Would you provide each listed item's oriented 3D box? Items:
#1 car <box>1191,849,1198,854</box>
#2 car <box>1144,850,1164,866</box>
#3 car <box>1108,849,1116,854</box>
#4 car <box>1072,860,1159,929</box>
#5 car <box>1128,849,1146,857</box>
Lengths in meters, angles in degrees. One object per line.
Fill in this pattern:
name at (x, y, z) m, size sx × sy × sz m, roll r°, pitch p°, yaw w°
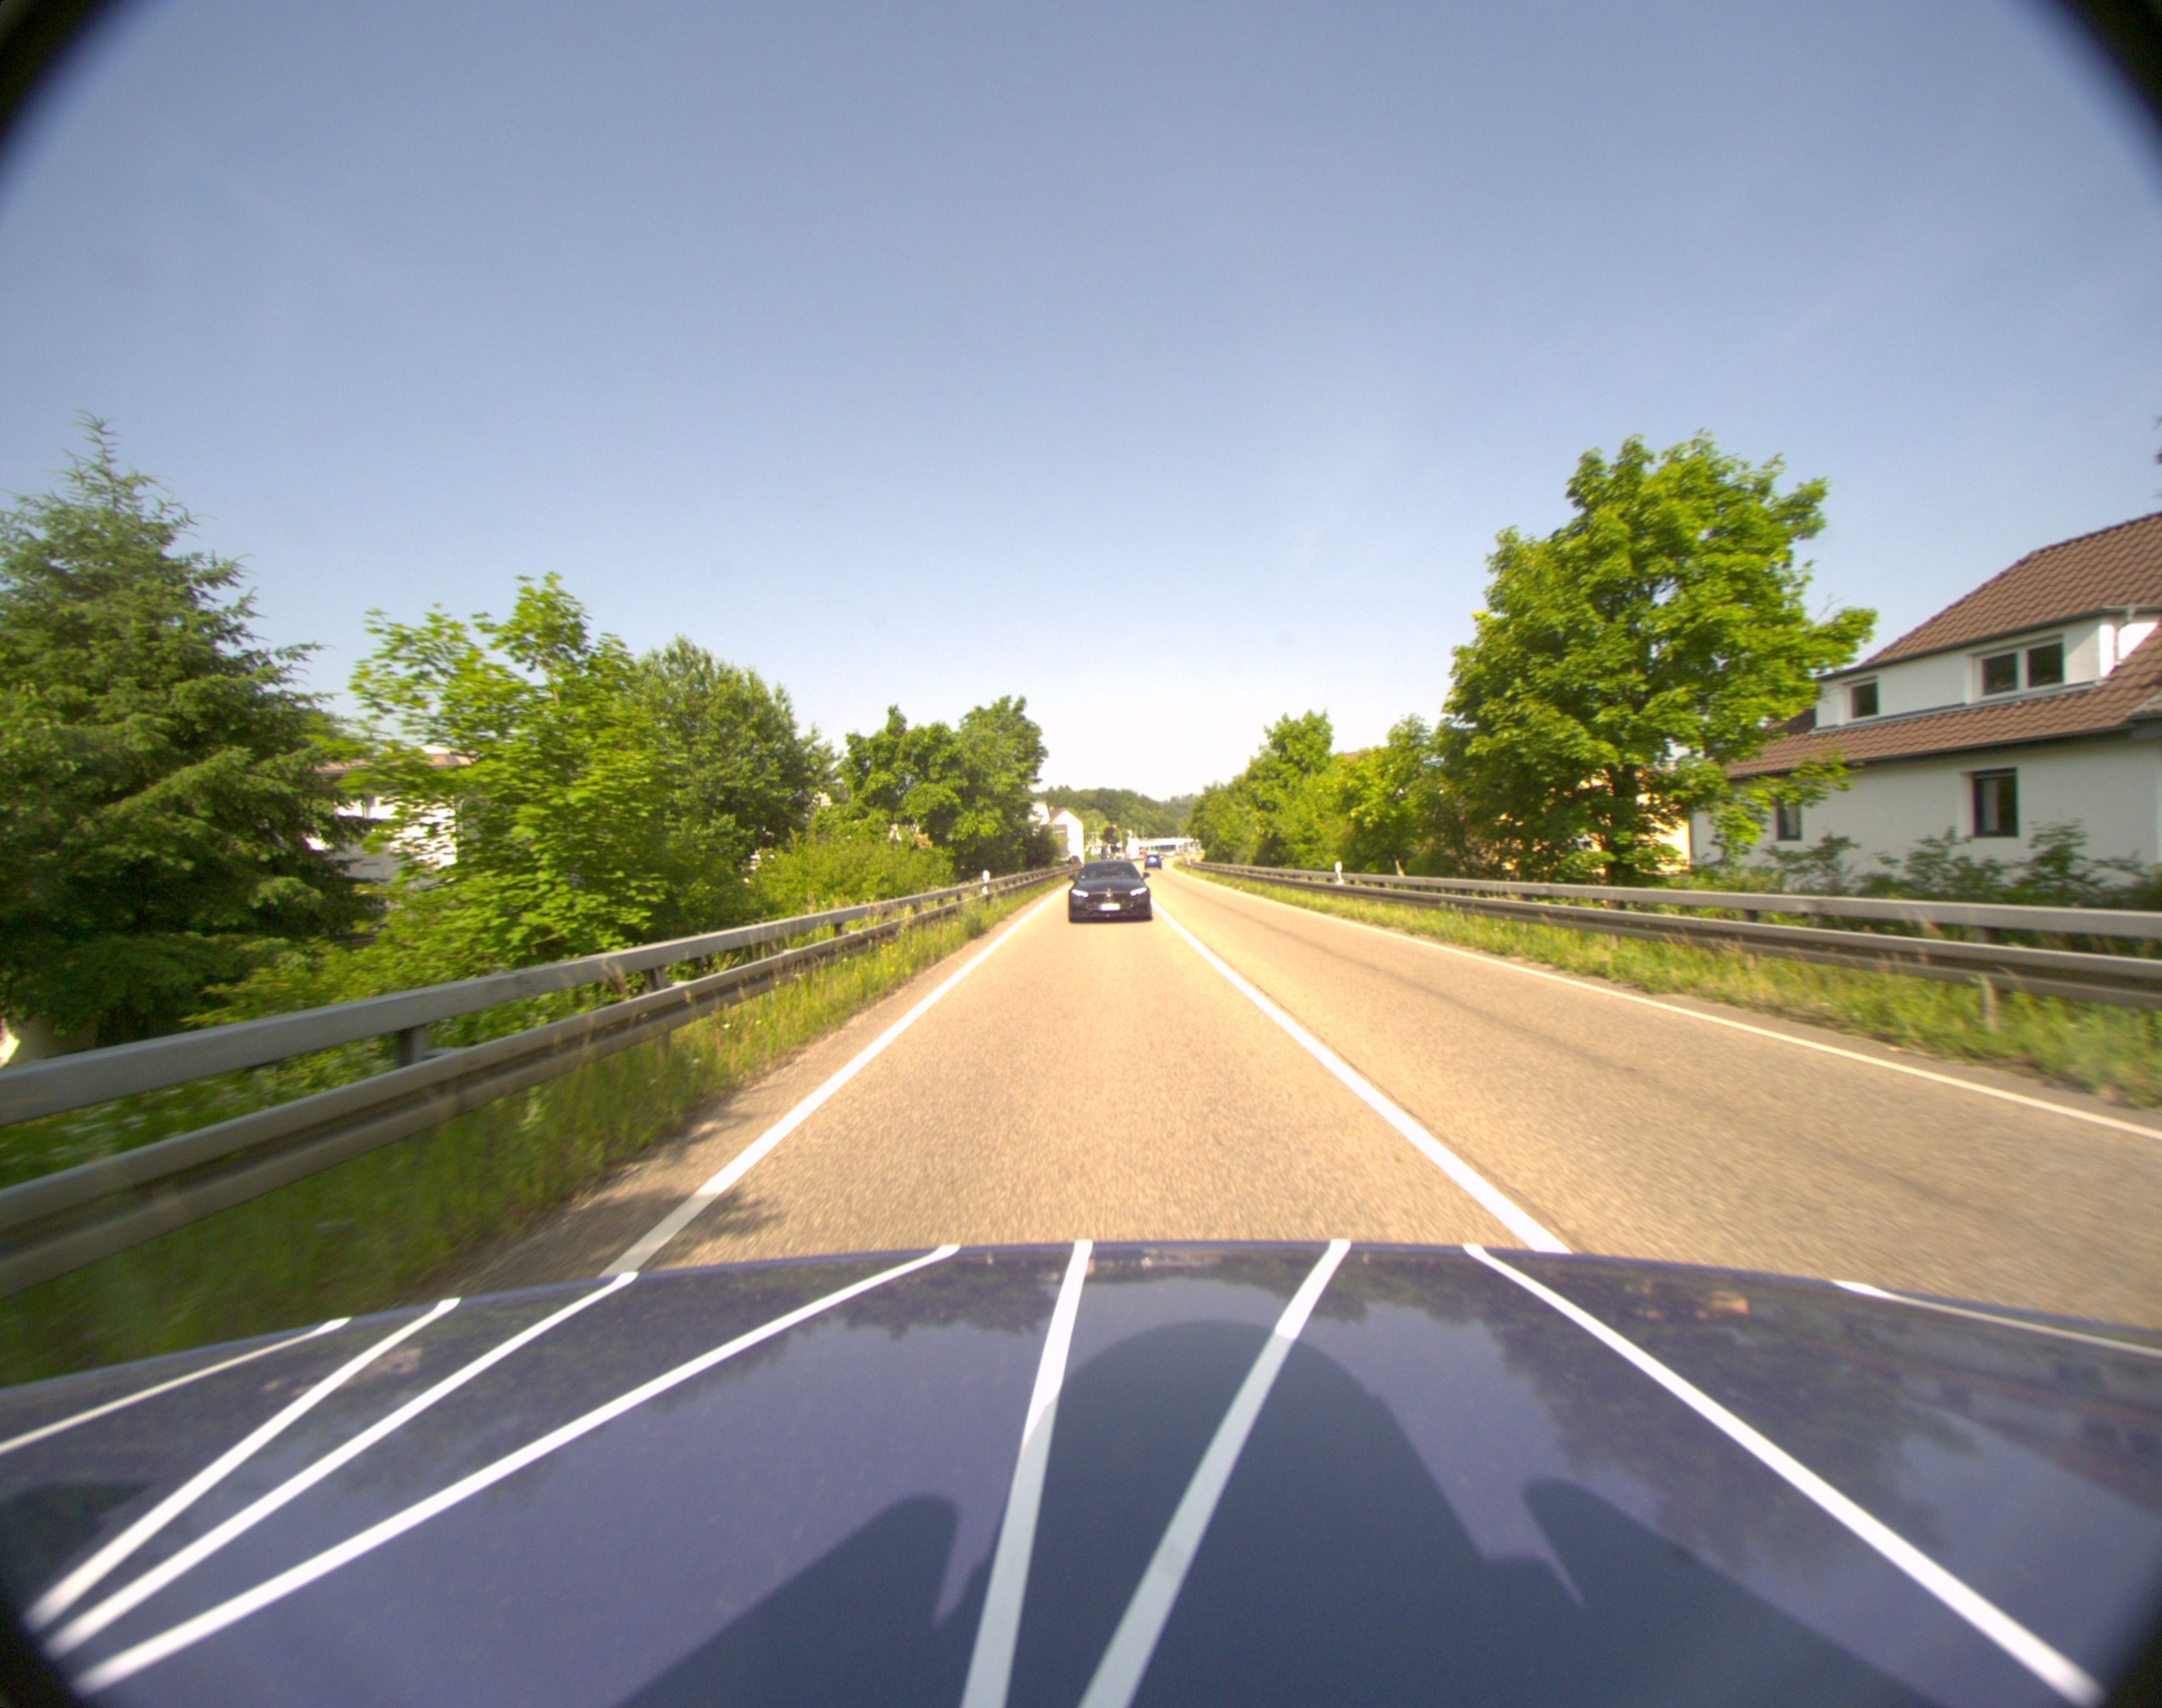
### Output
car at (30.667, -0.723, 204.578) m, size 1.761 × 1.402 × 3.991 m, roll 0°, pitch 1°, yaw 7°
car at (7.498, 0.429, 78.118) m, size 1.812 × 1.552 × 3.992 m, roll 0°, pitch 1°, yaw 2°
car at (8.386, -0.609, 208.032) m, size 1.656 × 1.359 × 3.660 m, roll -1°, pitch 1°, yaw -6°
car at (0.752, 0.910, 18.921) m, size 1.716 × 1.382 × 4.144 m, roll -1°, pitch 1°, yaw -4°
car at (13.280, -0.177, 180.002) m, size 3.996 × 1.441 × 1.765 m, roll -5°, pitch 1°, yaw 4°
